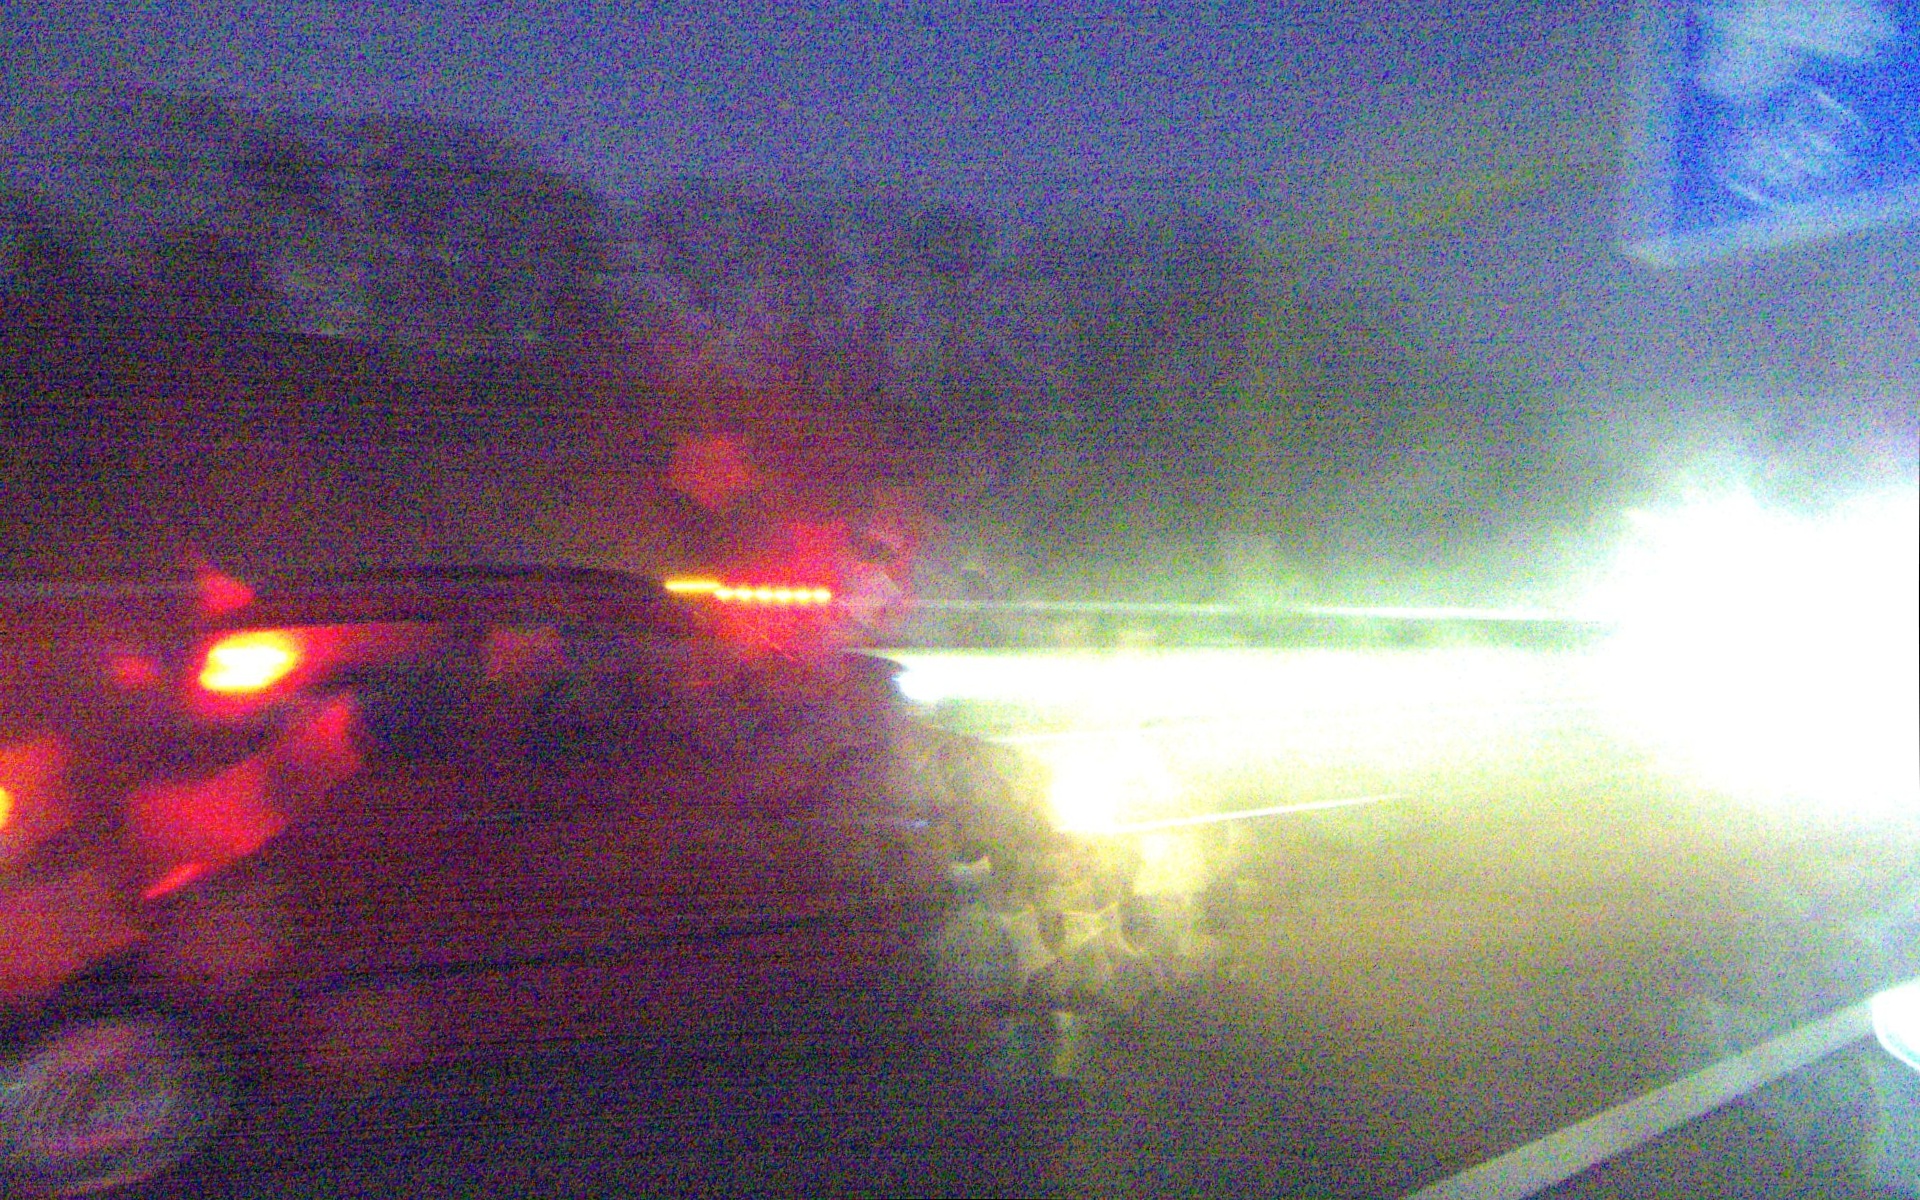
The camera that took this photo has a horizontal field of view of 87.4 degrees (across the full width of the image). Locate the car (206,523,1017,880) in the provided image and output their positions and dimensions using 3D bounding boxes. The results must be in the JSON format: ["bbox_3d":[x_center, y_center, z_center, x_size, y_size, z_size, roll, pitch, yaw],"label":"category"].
[{"bbox_3d":[-2.172,0.551,7.141,4.829,1.801,1.984,2,1,-30],"label":"car"}]

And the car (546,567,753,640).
[{"bbox_3d":[-7.085,0.089,22.985,4.246,1.484,1.871,2,2,-29],"label":"car"}]

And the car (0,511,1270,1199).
[{"bbox_3d":[-1.020,0.649,3.868,4.184,1.616,1.906,2,0,-30],"label":"car"}]

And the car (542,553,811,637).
[{"bbox_3d":[-5.623,-0.086,20.097,4.841,1.484,1.962,1,2,-31],"label":"car"}]
